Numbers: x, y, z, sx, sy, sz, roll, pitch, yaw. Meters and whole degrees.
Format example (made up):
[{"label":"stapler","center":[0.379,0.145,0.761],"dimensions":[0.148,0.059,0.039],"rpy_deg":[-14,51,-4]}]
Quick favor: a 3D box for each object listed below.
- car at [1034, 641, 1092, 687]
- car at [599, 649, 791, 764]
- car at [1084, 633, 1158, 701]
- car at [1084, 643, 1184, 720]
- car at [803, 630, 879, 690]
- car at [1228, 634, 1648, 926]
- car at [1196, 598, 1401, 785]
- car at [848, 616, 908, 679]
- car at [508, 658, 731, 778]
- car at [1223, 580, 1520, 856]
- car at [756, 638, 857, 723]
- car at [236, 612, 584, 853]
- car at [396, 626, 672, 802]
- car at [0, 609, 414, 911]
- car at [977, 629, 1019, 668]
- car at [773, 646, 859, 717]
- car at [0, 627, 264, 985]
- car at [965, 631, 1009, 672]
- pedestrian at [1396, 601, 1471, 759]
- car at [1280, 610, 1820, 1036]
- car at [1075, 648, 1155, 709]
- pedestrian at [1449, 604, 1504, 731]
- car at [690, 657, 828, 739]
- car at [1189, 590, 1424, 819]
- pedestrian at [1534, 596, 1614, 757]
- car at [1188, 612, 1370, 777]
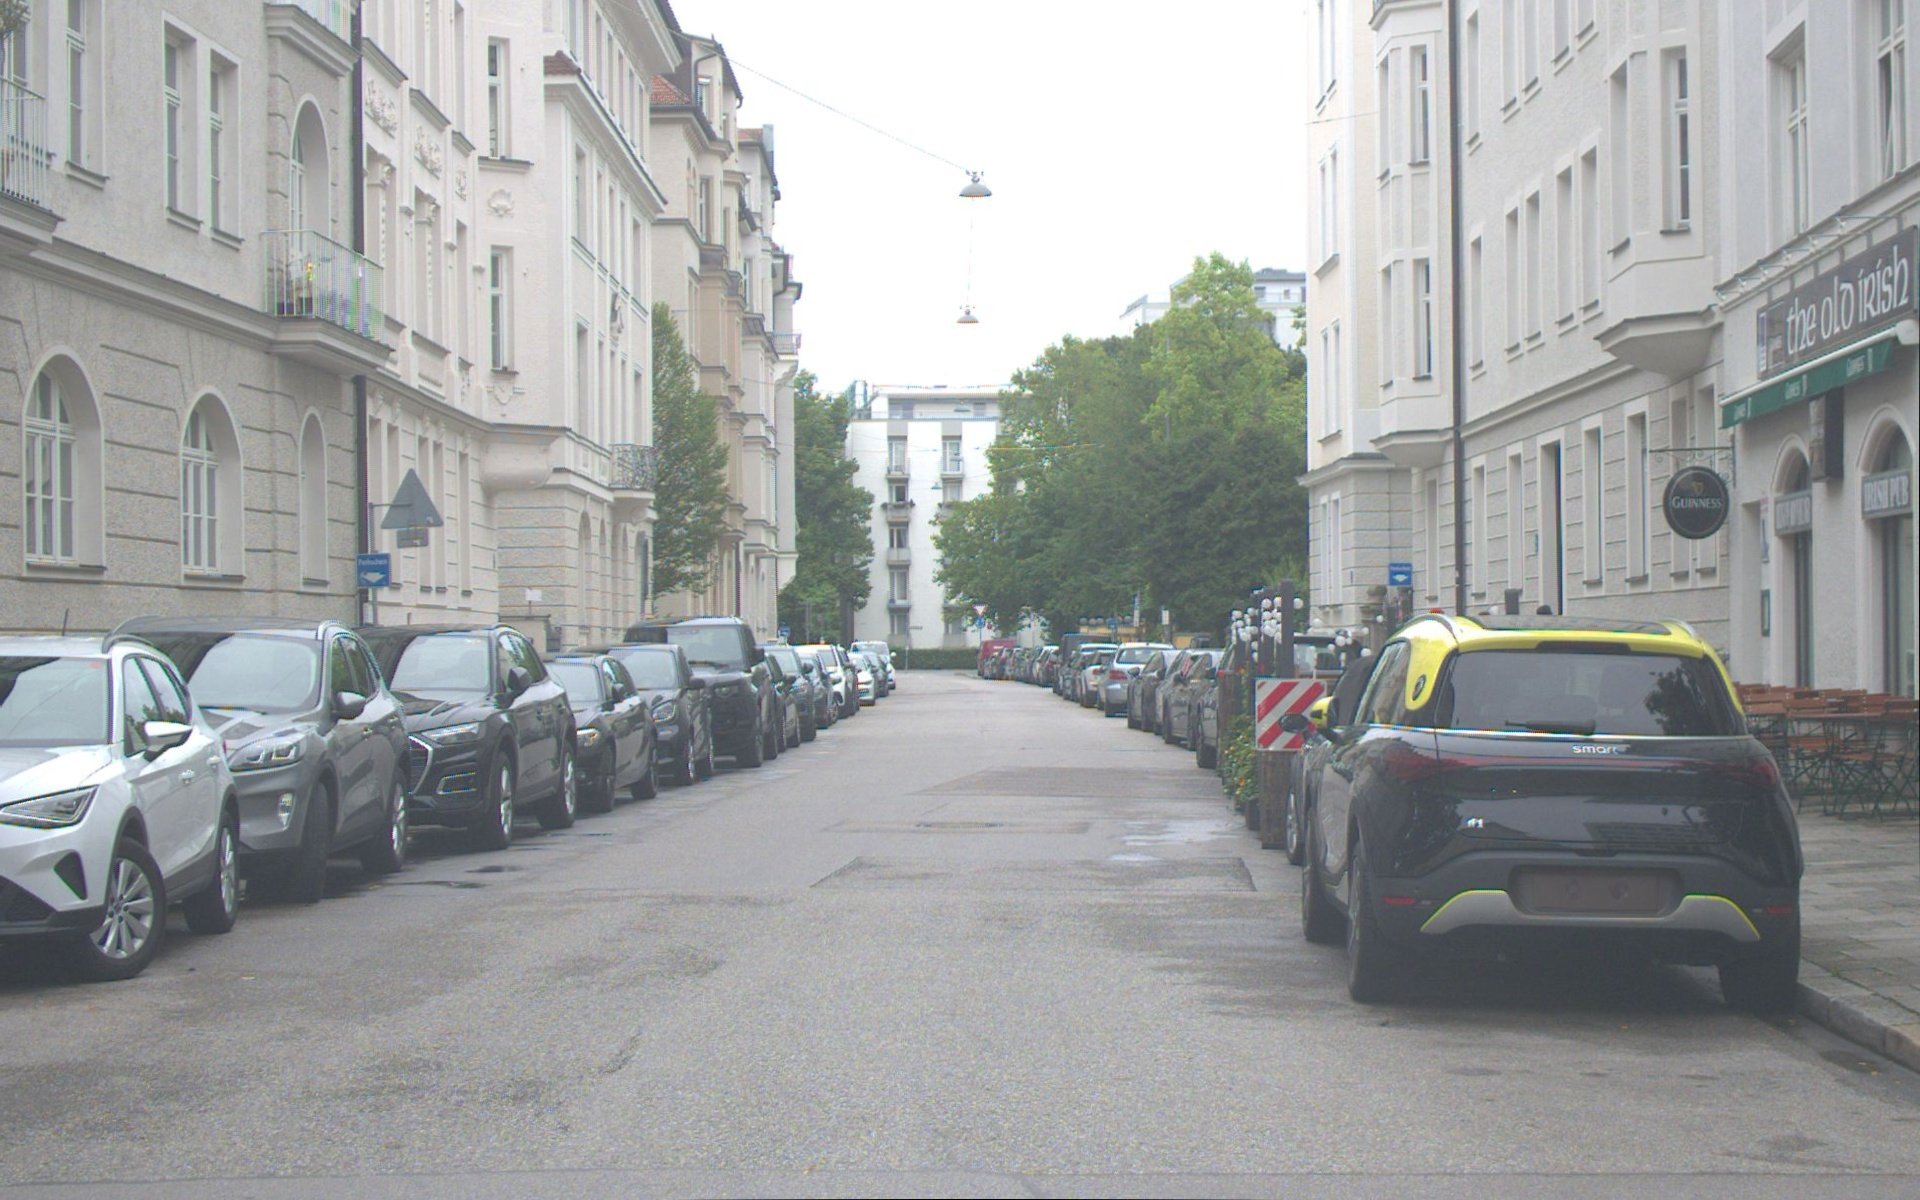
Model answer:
[{"label":"car","center":[3.869,2.410,129.573],"dimensions":[1.950,1.646,4.000],"rpy_deg":[-2,-1,-1]},{"label":"car","center":[-3.247,1.288,42.811],"dimensions":[1.906,1.324,4.000],"rpy_deg":[0,0,2]},{"label":"car","center":[4.776,1.978,102.619],"dimensions":[1.993,1.975,4.893],"rpy_deg":[0,0,0]},{"label":"car","center":[3.710,1.733,73.843],"dimensions":[1.906,1.571,4.000],"rpy_deg":[0,0,-1]},{"label":"car","center":[-3.204,1.615,93.347],"dimensions":[1.993,1.569,4.000],"rpy_deg":[0,0,-1]},{"label":"car","center":[2.733,0.982,20.676],"dimensions":[1.976,1.493,4.637],"rpy_deg":[2,0,2]},{"label":"car","center":[3.488,0.914,36.103],"dimensions":[1.994,1.850,4.344],"rpy_deg":[0,0,4]},{"label":"car","center":[-2.646,1.529,111.201],"dimensions":[1.846,2.007,4.000],"rpy_deg":[0,0,0]},{"label":"car","center":[-3.717,1.274,38.139],"dimensions":[1.906,1.218,4.000],"rpy_deg":[0,0,2]},{"label":"car","center":[3.031,0.837,26.083],"dimensions":[1.820,1.864,4.288],"rpy_deg":[2,0,2]},{"label":"car","center":[-2.928,1.528,66.233],"dimensions":[1.820,1.569,4.000],"rpy_deg":[0,0,-1]},{"label":"car","center":[-4.079,0.943,26.177],"dimensions":[1.993,1.670,4.289],"rpy_deg":[0,0,0]},{"label":"car","center":[-3.921,1.019,32.280],"dimensions":[1.926,1.541,3.999],"rpy_deg":[0,0,3]},{"label":"car","center":[-4.630,0.909,21.173],"dimensions":[1.993,1.670,4.012],"rpy_deg":[0,0,-2]},{"label":"car","center":[2.001,2.538,180.731],"dimensions":[1.993,1.975,4.893],"rpy_deg":[0,0,-2]},{"label":"car","center":[-3.002,1.690,72.193],"dimensions":[1.733,1.415,4.000],"rpy_deg":[0,0,-1]},{"label":"car","center":[-4.589,0.869,16.224],"dimensions":[1.993,1.468,4.219],"rpy_deg":[0,0,-4]},{"label":"car","center":[1.300,2.508,169.120],"dimensions":[1.993,1.975,4.893],"rpy_deg":[0,0,-2]},{"label":"pedestrian","center":[5.581,0.934,40.561],"dimensions":[0.778,1.845,1.023],"rpy_deg":[0,0,3]},{"label":"car","center":[2.531,0.899,15.750],"dimensions":[1.820,1.630,4.288],"rpy_deg":[2,0,2]},{"label":"car","center":[3.791,1.915,84.571],"dimensions":[1.730,1.413,3.852],"rpy_deg":[0,0,-1]},{"label":"pedestrian","center":[7.572,0.985,50.365],"dimensions":[0.778,1.845,0.859],"rpy_deg":[0,0,9]},{"label":"car","center":[-3.152,1.534,54.655],"dimensions":[1.906,1.218,4.000],"rpy_deg":[0,0,1]},{"label":"car","center":[3.124,0.916,31.737],"dimensions":[1.820,1.917,4.183],"rpy_deg":[2,0,2]},{"label":"pedestrian","center":[7.141,0.882,40.005],"dimensions":[0.778,1.845,1.023],"rpy_deg":[0,0,3]},{"label":"car","center":[3.689,1.066,40.337],"dimensions":[1.820,1.781,4.183],"rpy_deg":[2,0,2]}]
